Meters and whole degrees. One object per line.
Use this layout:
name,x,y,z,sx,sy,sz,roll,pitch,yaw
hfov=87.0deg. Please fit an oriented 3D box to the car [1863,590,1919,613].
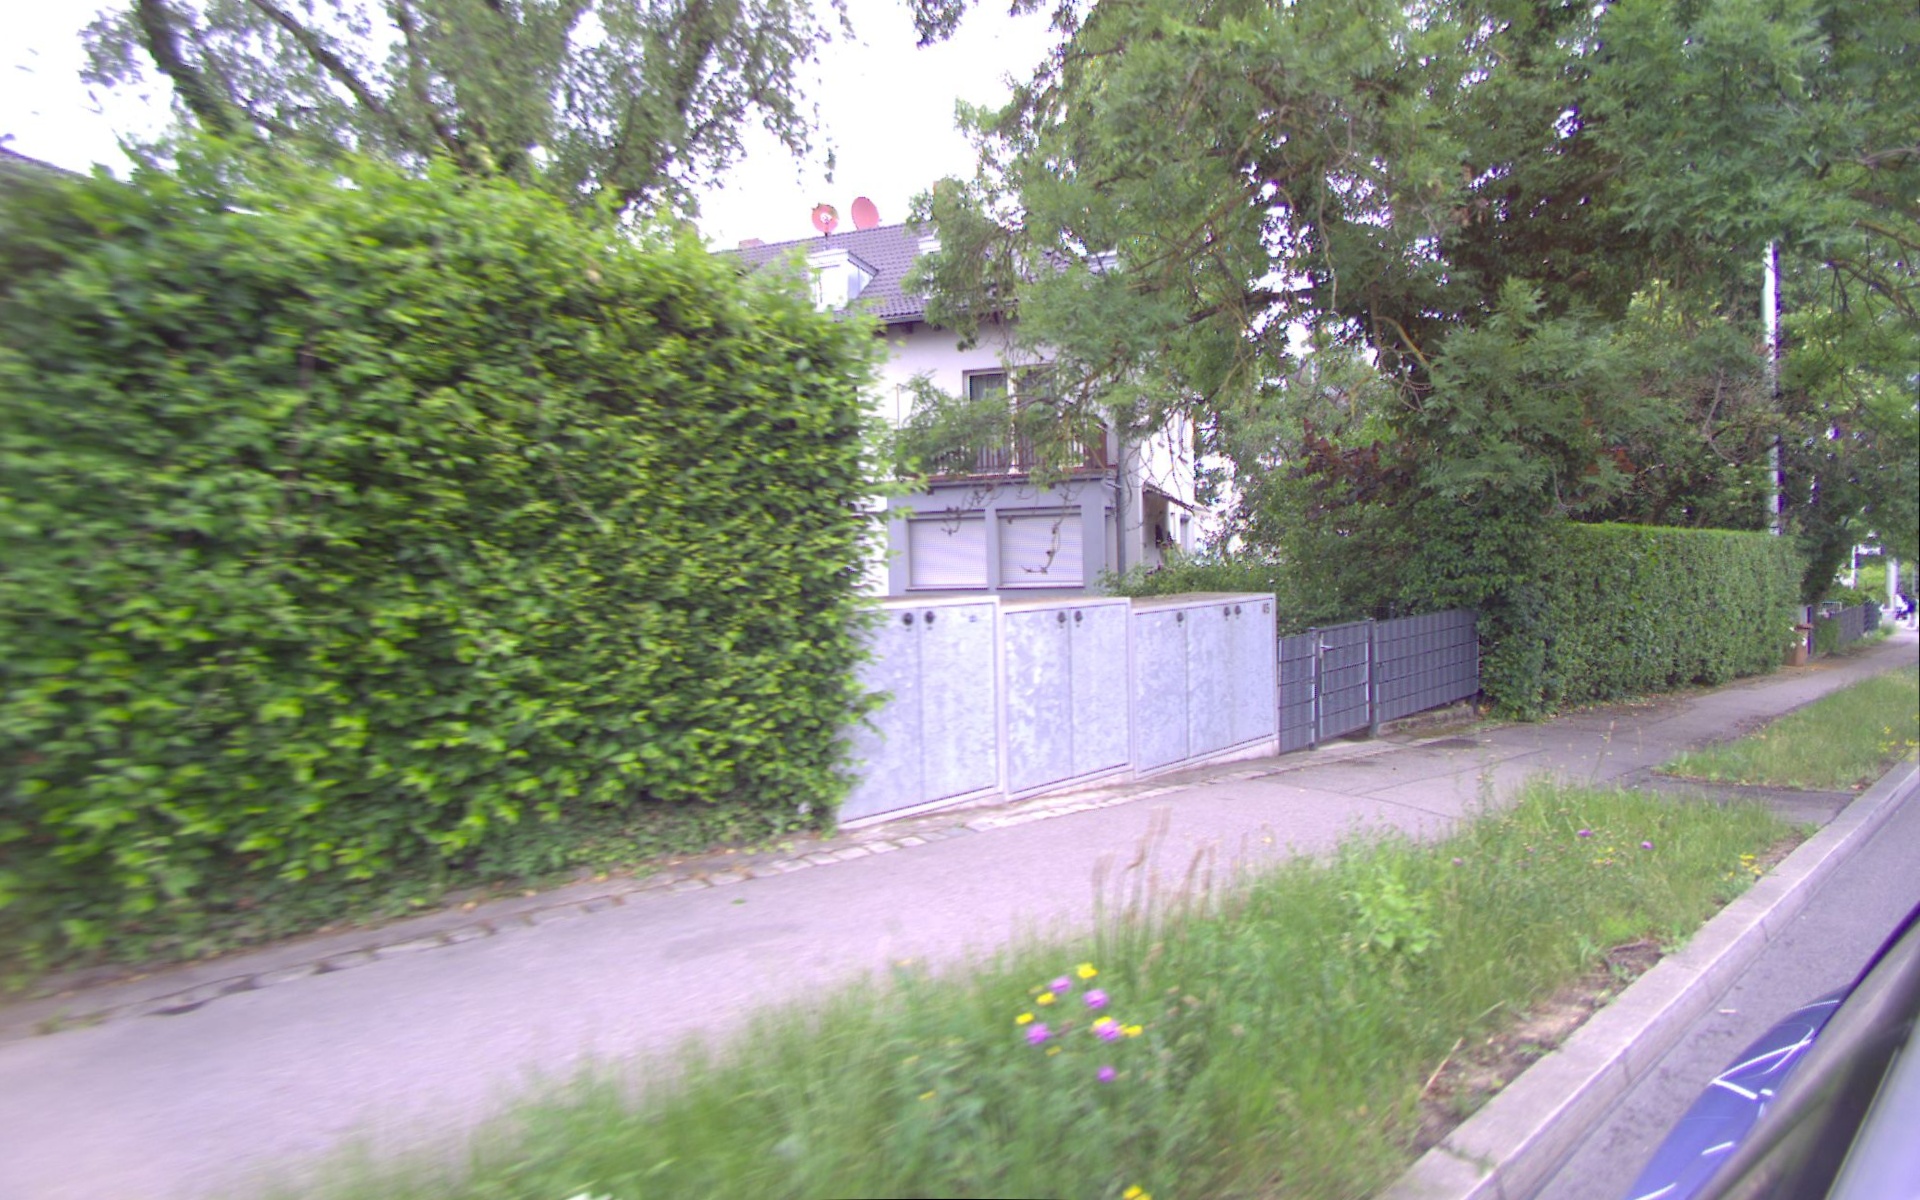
car,69.453,0.075,75.541,1.981,1.678,4.393,0,1,28

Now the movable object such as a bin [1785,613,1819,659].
movable object such as a bin,17.408,0.741,20.931,0.447,0.922,0.473,0,0,-41
